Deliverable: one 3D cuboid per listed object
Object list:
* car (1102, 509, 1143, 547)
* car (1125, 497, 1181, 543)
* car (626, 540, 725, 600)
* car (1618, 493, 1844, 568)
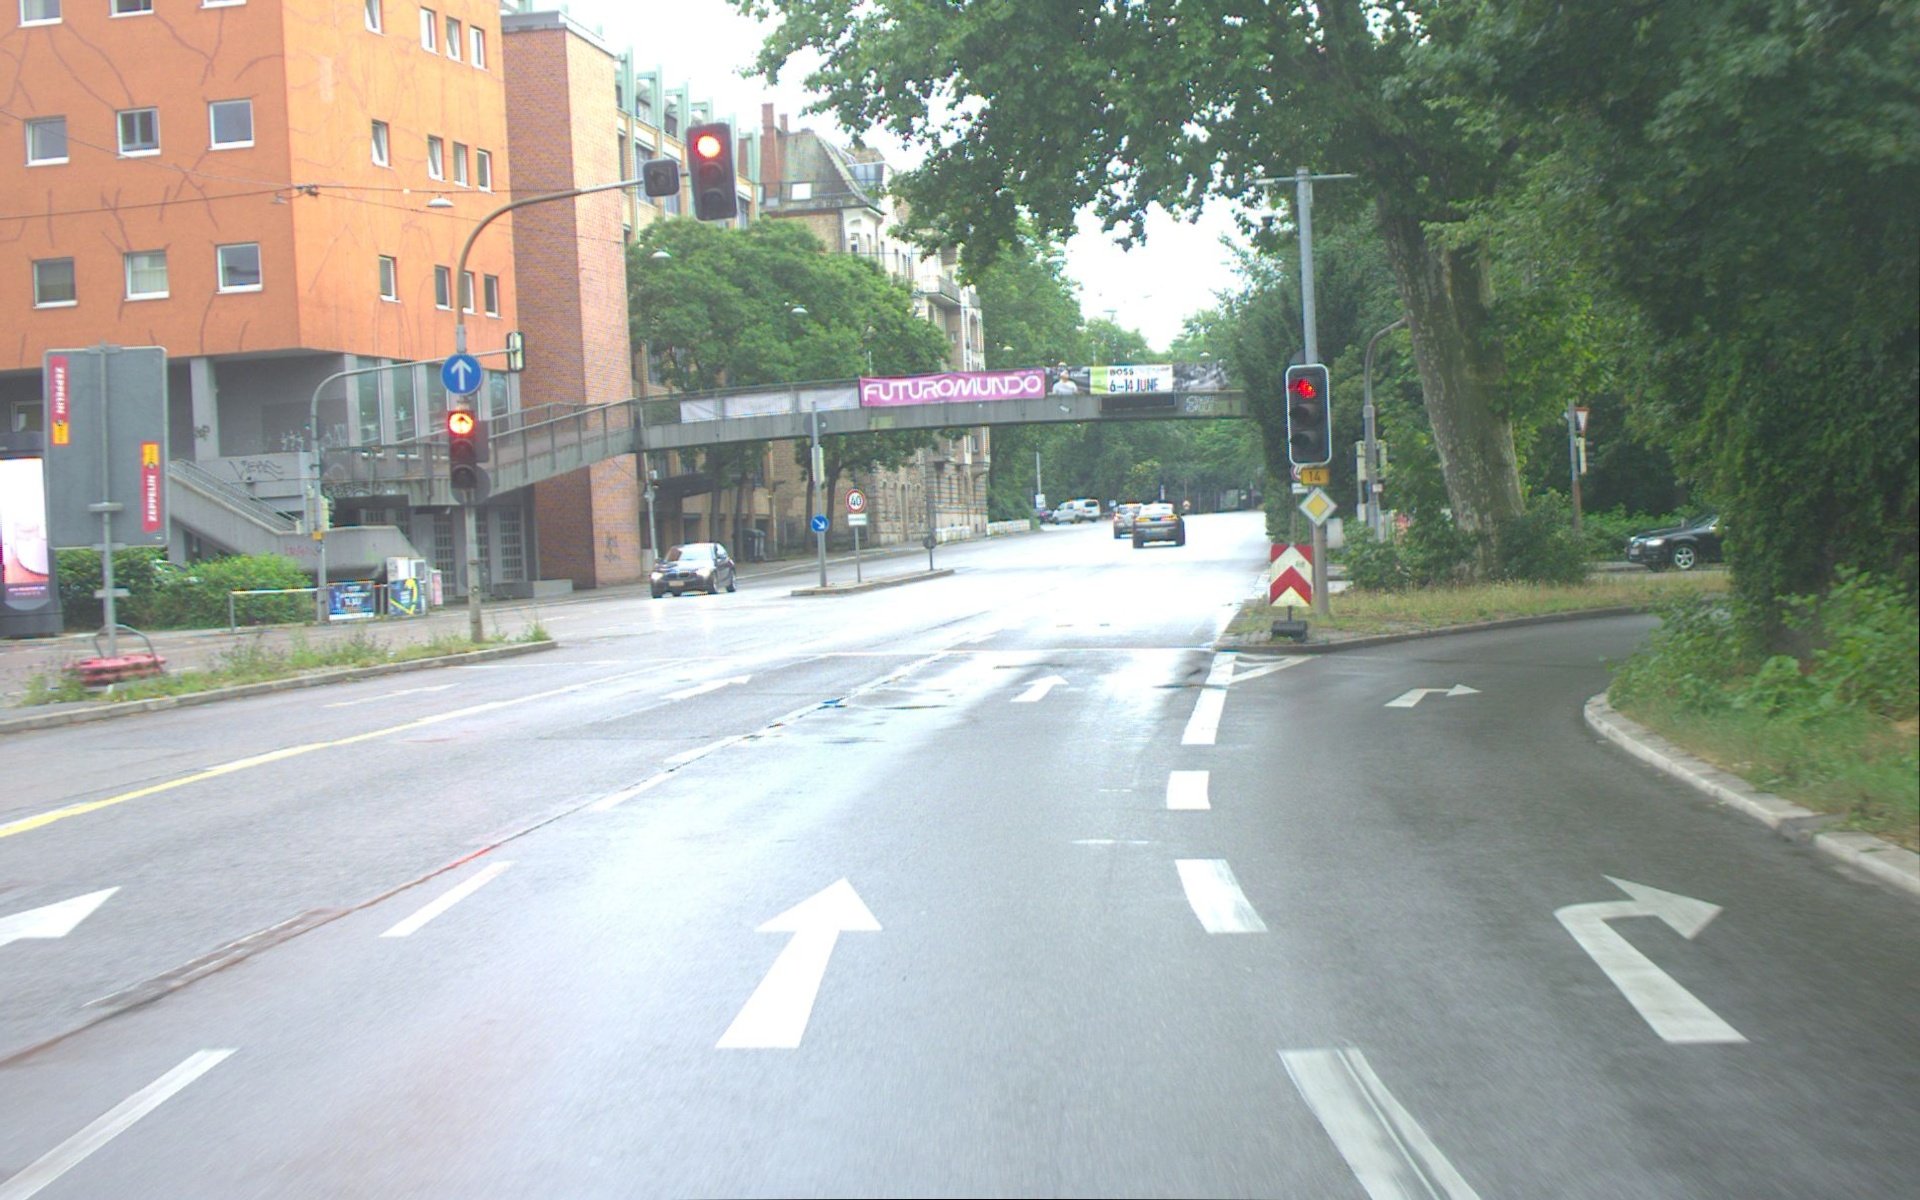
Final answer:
[{"bbox_3d":[7.839,-3.479,165.803,1.763,1.691,3.705,-4,1,4],"label":"car"},{"bbox_3d":[7.725,-3.222,137.795,2.121,1.729,4.198,-1,2,2],"label":"car"},{"bbox_3d":[-7.738,-0.831,93.745,1.994,1.514,4.000,-3,1,5],"label":"car"},{"bbox_3d":[17.340,-1.550,77.440,4.603,1.446,1.774,-3,1,-2],"label":"car"}]
